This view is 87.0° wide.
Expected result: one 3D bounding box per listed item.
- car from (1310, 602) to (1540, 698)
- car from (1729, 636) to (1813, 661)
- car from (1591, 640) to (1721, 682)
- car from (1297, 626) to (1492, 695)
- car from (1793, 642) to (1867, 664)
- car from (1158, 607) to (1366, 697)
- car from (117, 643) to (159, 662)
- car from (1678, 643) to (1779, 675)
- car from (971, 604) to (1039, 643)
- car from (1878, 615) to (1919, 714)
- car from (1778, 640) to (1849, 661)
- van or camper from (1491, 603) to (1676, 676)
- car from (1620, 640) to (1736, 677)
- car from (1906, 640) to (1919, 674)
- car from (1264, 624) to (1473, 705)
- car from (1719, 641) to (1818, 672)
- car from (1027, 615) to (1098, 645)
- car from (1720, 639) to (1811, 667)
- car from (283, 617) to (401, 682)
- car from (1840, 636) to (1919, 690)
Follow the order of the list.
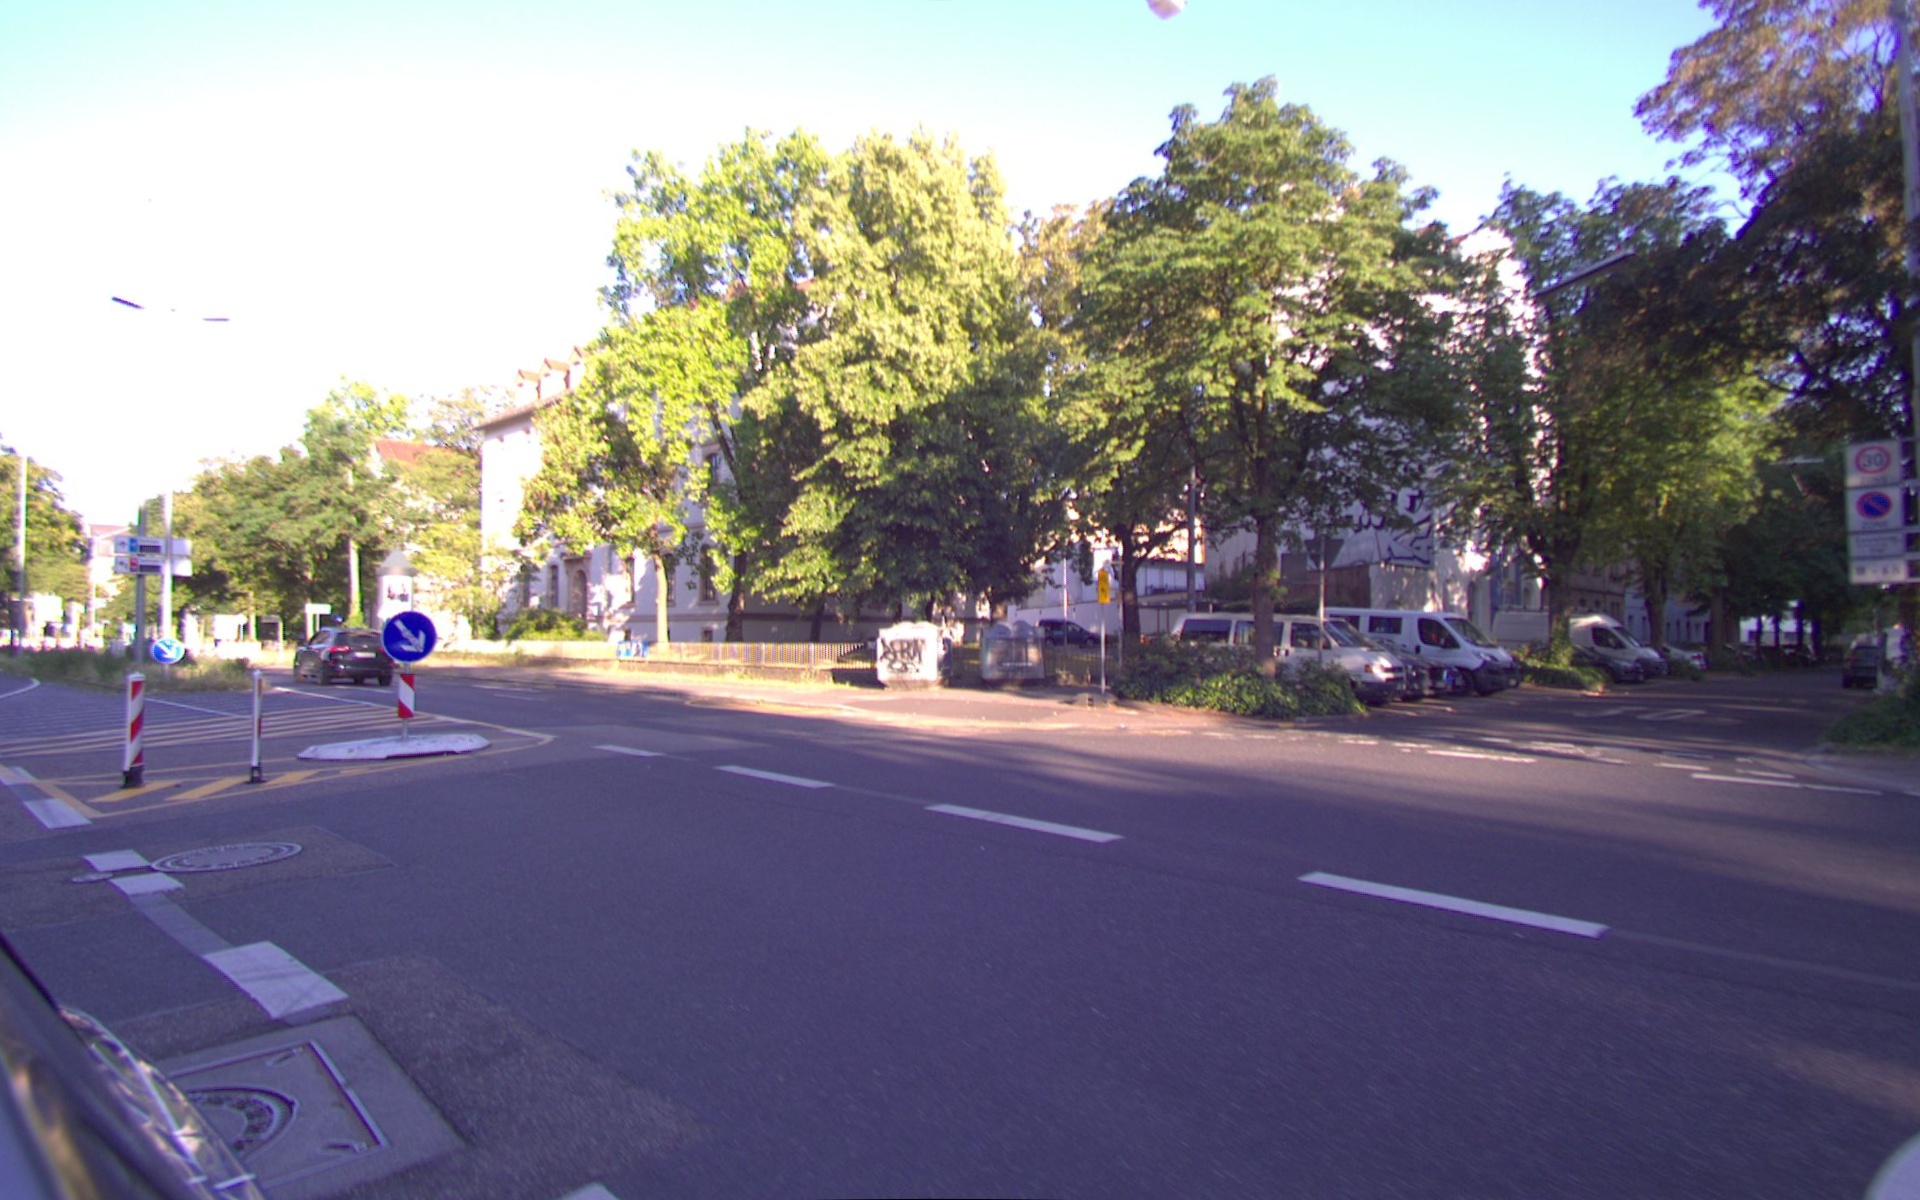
[{"bbox_3d":[12.277,1.267,27.031,2.188,2.306,5.105,0,-2,-42],"label":"car"},{"bbox_3d":[51.954,3.078,64.892,4.044,1.541,1.880,-2,-2,44],"label":"car"},{"bbox_3d":[27.929,2.403,40.693,4.044,1.541,1.880,-2,-2,44],"label":"car"},{"bbox_3d":[10.701,1.432,25.060,3.999,1.551,1.972,-2,-2,42],"label":"car"},{"bbox_3d":[64.592,3.899,75.142,4.044,1.541,1.880,-2,-2,44],"label":"car"},{"bbox_3d":[6.581,1.093,22.274,3.999,1.809,1.799,-2,-2,42],"label":"car"},{"bbox_3d":[-60.968,3.850,75.039,4.006,1.283,1.755,-2,-6,42],"label":"car"},{"bbox_3d":[40.797,3.123,53.789,4.044,1.541,1.880,-2,-2,44],"label":"car"},{"bbox_3d":[2.171,1.145,49.847,3.222,1.837,1.862,-1,0,0],"label":"car"},{"bbox_3d":[20.530,1.252,19.596,3.999,1.896,1.972,-2,-1,42],"label":"car"},{"bbox_3d":[65.763,3.887,78.049,4.044,1.541,1.880,-2,-2,44],"label":"car"},{"bbox_3d":[22.715,1.412,37.032,5.429,2.490,2.042,-2,-2,44],"label":"van or camper"},{"bbox_3d":[32.593,2.627,46.018,4.044,1.541,1.880,-2,-2,44],"label":"car"},{"bbox_3d":[47.891,2.780,49.513,4.669,1.610,2.002,2,-2,-42],"label":"car"},{"bbox_3d":[9.255,1.396,23.078,3.999,1.674,1.972,-2,-2,42],"label":"car"},{"bbox_3d":[43.936,3.056,55.048,4.044,1.541,1.880,-2,-2,44],"label":"car"},{"bbox_3d":[6.415,1.844,63.379,4.048,1.842,1.966,0,-2,-9],"label":"car"},{"bbox_3d":[47.938,3.149,60.248,4.044,1.541,1.880,-2,-2,44],"label":"car"},{"bbox_3d":[-18.082,1.427,29.526,1.855,1.719,4.570,5,-5,-44],"label":"car"},{"bbox_3d":[30.464,1.986,32.841,4.664,1.610,2.004,2,-2,-38],"label":"car"}]
